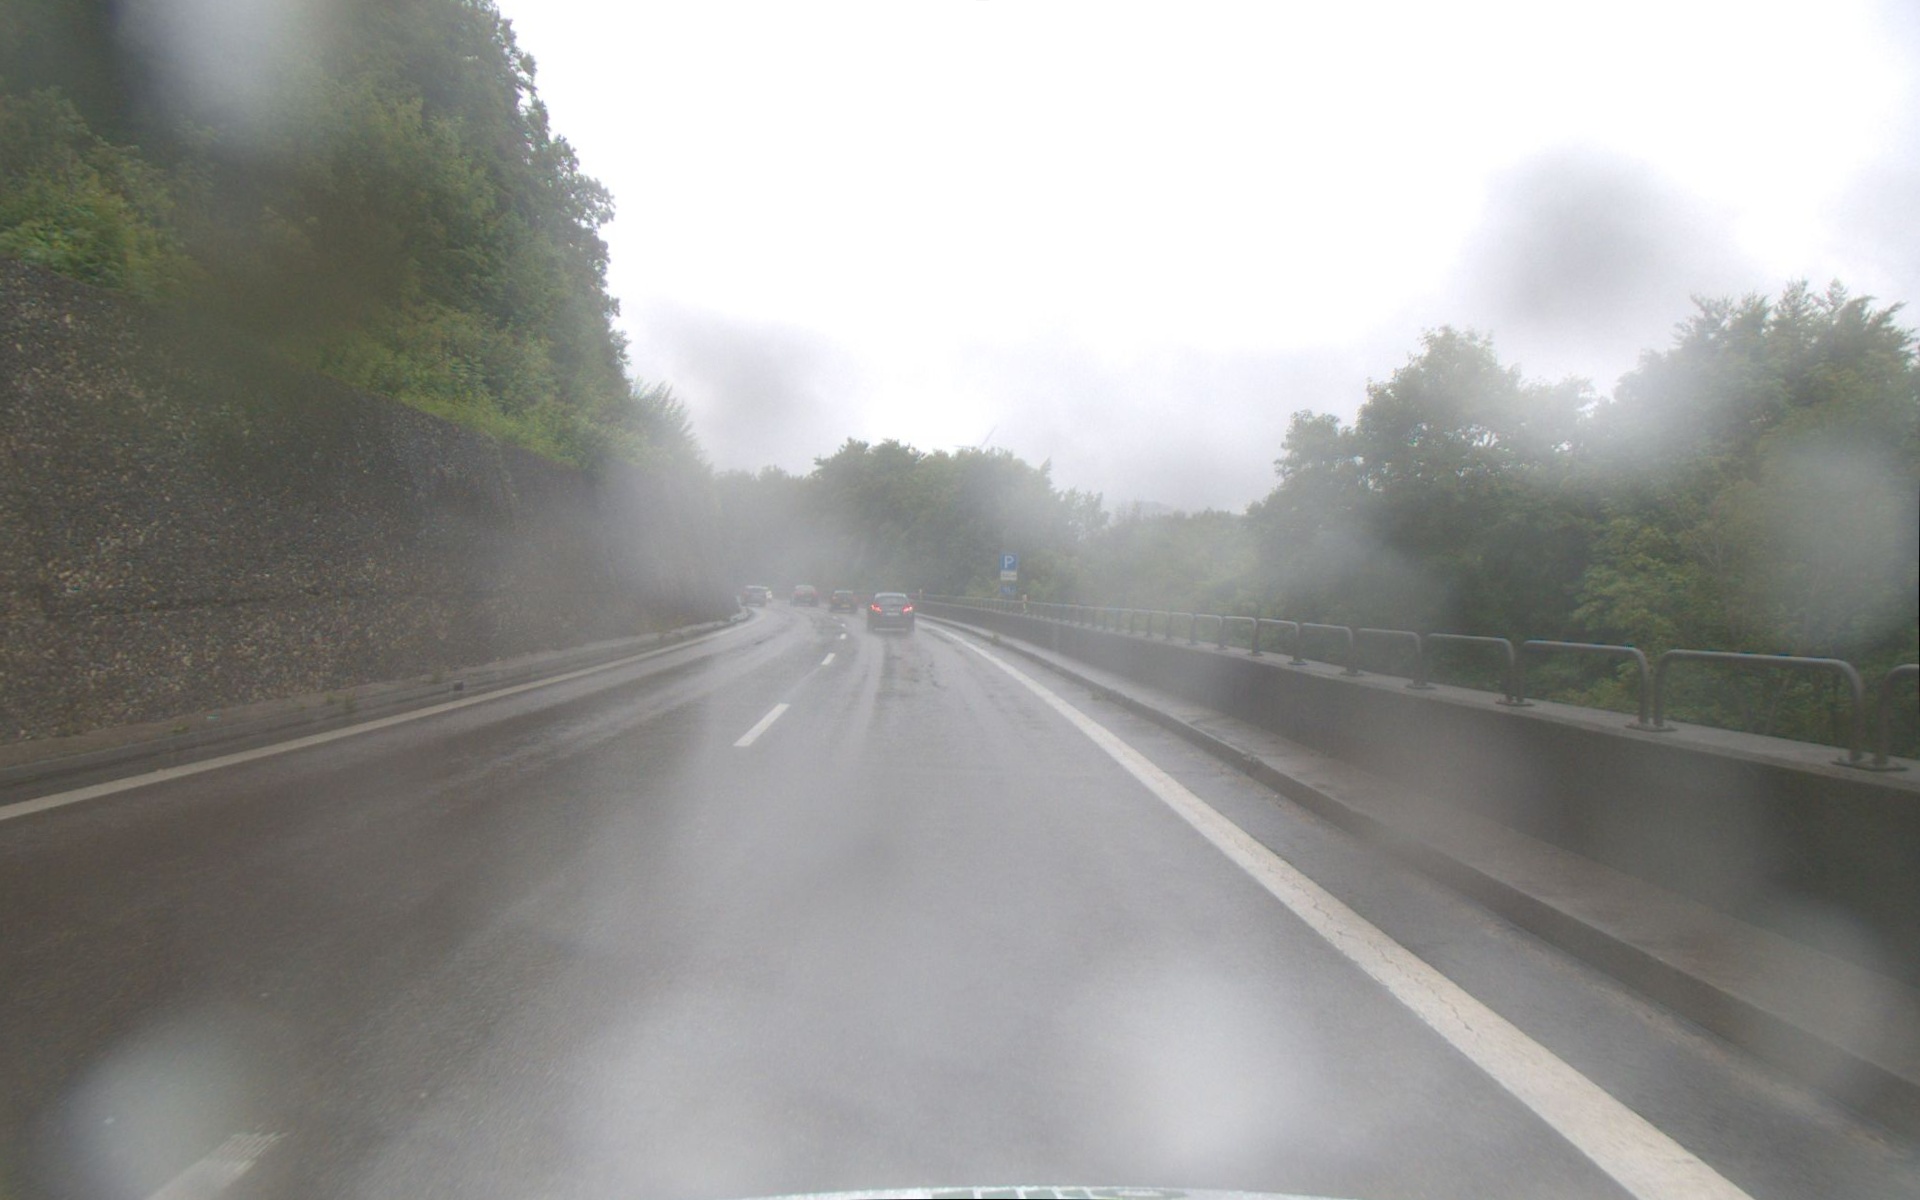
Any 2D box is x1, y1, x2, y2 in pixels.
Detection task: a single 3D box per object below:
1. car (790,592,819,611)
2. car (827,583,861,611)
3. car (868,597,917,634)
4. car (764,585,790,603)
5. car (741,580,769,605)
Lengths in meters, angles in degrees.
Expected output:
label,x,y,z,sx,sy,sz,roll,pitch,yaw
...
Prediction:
label,x,y,z,sx,sy,sz,roll,pitch,yaw
car,-12.839,0.089,136.605,1.770,1.492,3.985,1,0,-14
car,-7.768,-0.179,110.336,1.956,1.780,3.992,1,0,-9
car,-2.537,0.561,62.648,1.764,1.330,3.998,1,0,-2
car,-16.761,-0.550,150.975,1.959,1.691,3.988,0,0,-12
car,-16.818,-0.622,135.496,1.958,1.937,3.989,1,0,-11
